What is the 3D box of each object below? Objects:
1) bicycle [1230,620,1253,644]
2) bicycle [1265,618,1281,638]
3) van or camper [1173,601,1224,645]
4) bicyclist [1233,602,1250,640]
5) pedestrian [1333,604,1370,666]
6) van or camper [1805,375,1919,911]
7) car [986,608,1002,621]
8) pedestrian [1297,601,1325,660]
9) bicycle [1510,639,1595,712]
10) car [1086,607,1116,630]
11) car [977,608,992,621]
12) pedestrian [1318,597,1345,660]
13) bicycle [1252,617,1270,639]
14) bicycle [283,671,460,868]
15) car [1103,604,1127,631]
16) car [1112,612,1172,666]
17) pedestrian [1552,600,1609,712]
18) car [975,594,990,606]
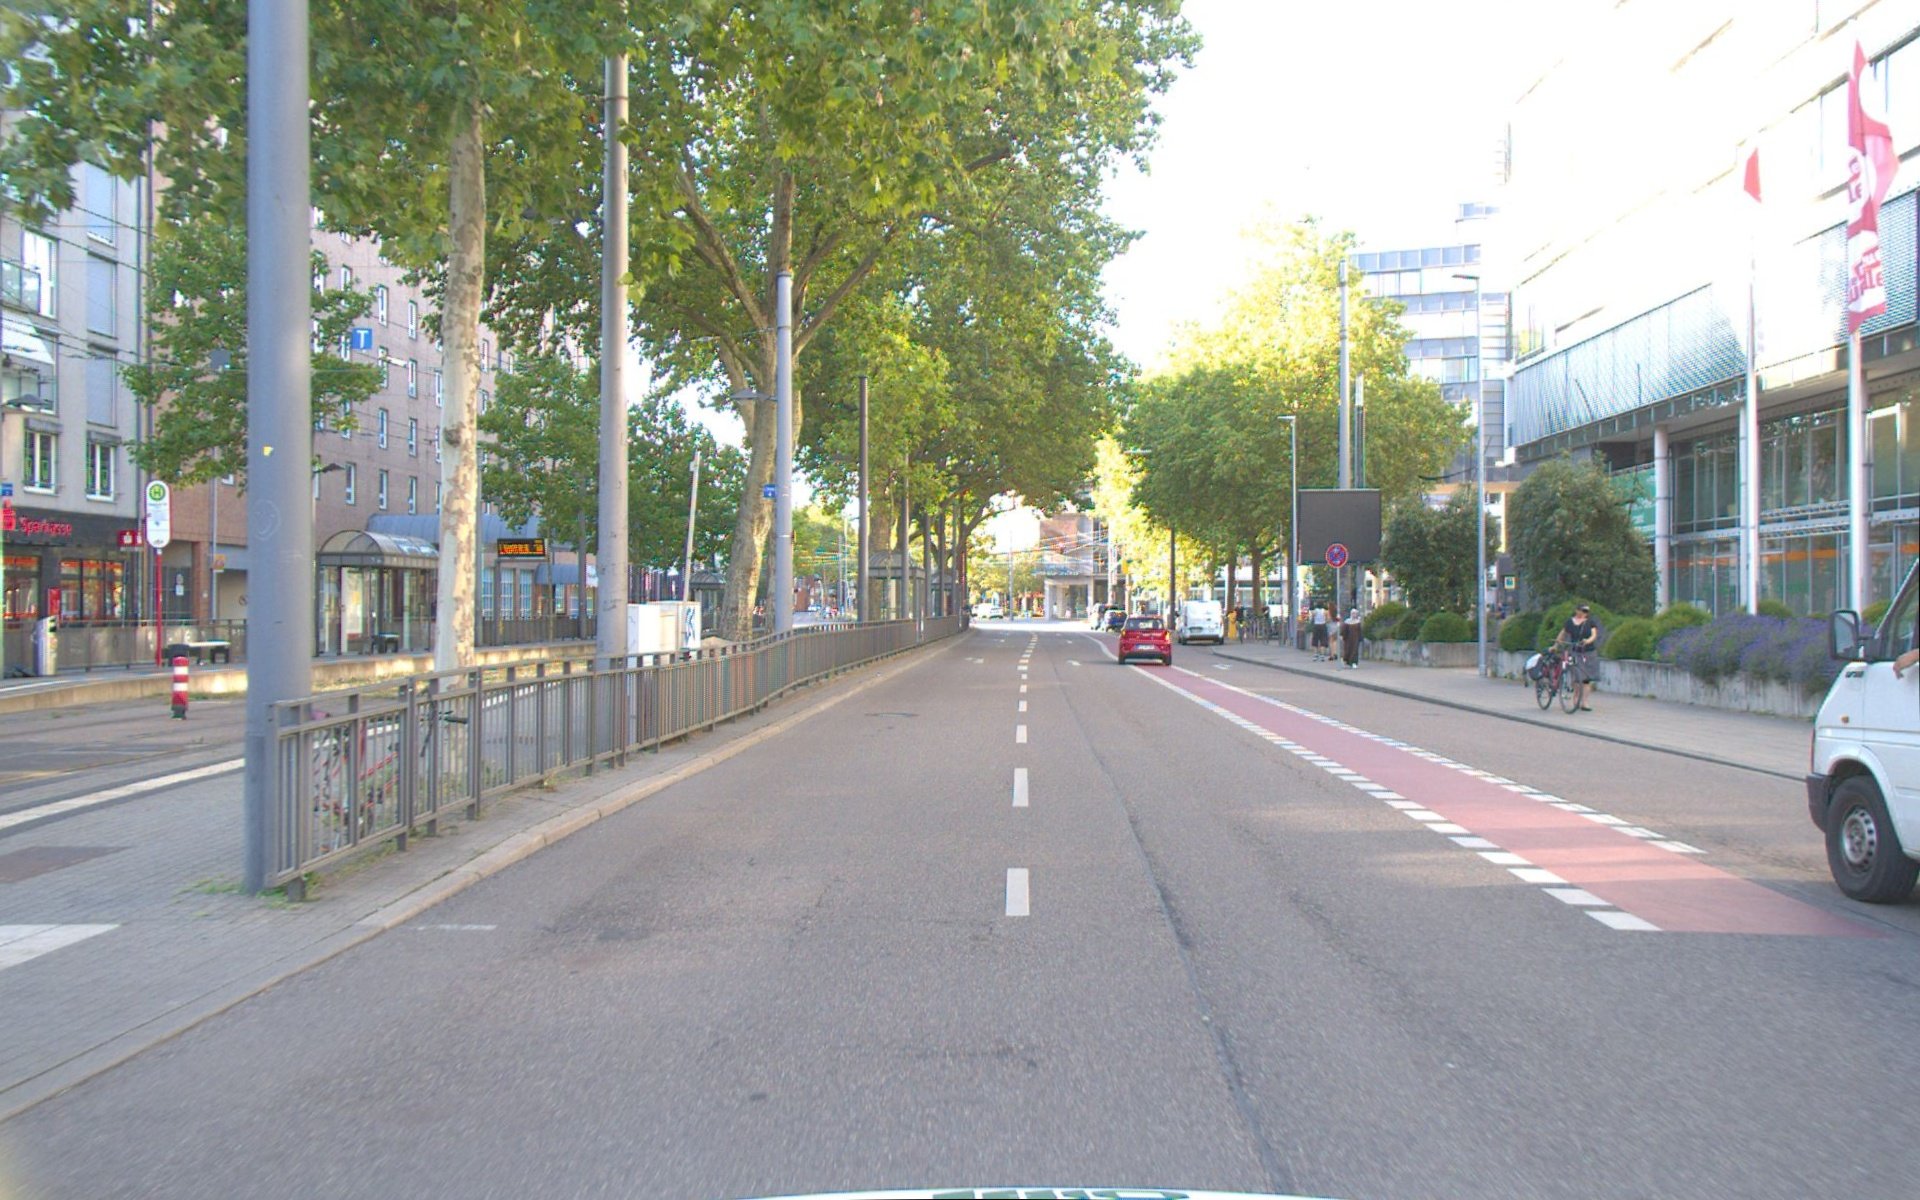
[{"bbox_3d":[12.935,1.454,76.073,0.669,1.086,2.470,-1,-1,1],"label":"bicycle"},{"bbox_3d":[15.667,1.407,82.842,0.458,0.999,1.768,-1,-1,1],"label":"bicycle"},{"bbox_3d":[11.128,1.061,77.533,1.952,2.024,4.746,0,0,3],"label":"van or camper"},{"bbox_3d":[12.948,0.949,76.147,0.636,1.731,0.952,0,-1,1],"label":"bicyclist"},{"bbox_3d":[10.441,0.929,44.146,0.630,1.607,0.722,-4,-1,-10],"label":"pedestrian"},{"bbox_3d":[5.888,0.229,6.533,1.928,2.764,6.305,1,0,1],"label":"van or camper"},{"bbox_3d":[4.115,1.780,202.938,1.742,1.561,3.410,1,0,-3],"label":"car"},{"bbox_3d":[10.594,0.913,49.979,0.552,1.732,0.907,-3,-1,0],"label":"pedestrian"},{"bbox_3d":[9.174,1.145,25.697,0.510,0.992,2.202,-4,0,1],"label":"bicycle"},{"bbox_3d":[10.333,1.342,120.972,1.742,1.561,3.510,1,0,-3],"label":"car"},{"bbox_3d":[3.071,1.802,209.572,1.742,1.561,3.410,1,0,-3],"label":"car"},{"bbox_3d":[11.214,0.856,49.943,0.529,1.827,0.907,-3,-1,0],"label":"pedestrian"},{"bbox_3d":[15.087,1.382,82.845,0.573,1.086,1.900,-1,-1,1],"label":"bicycle"},{"bbox_3d":[-3.429,0.957,9.736,0.387,0.965,1.352,0,2,7],"label":"bicycle"},{"bbox_3d":[10.725,1.232,114.759,1.601,1.831,3.331,0,0,4],"label":"car"},{"bbox_3d":[5.512,1.150,50.433,1.579,1.561,3.412,1,0,2],"label":"car"},{"bbox_3d":[9.603,0.852,25.609,0.633,1.710,0.651,0,0,2],"label":"pedestrian"},{"bbox_3d":[2.884,0.023,215.609,1.742,1.616,3.410,1,0,-3],"label":"car"}]
